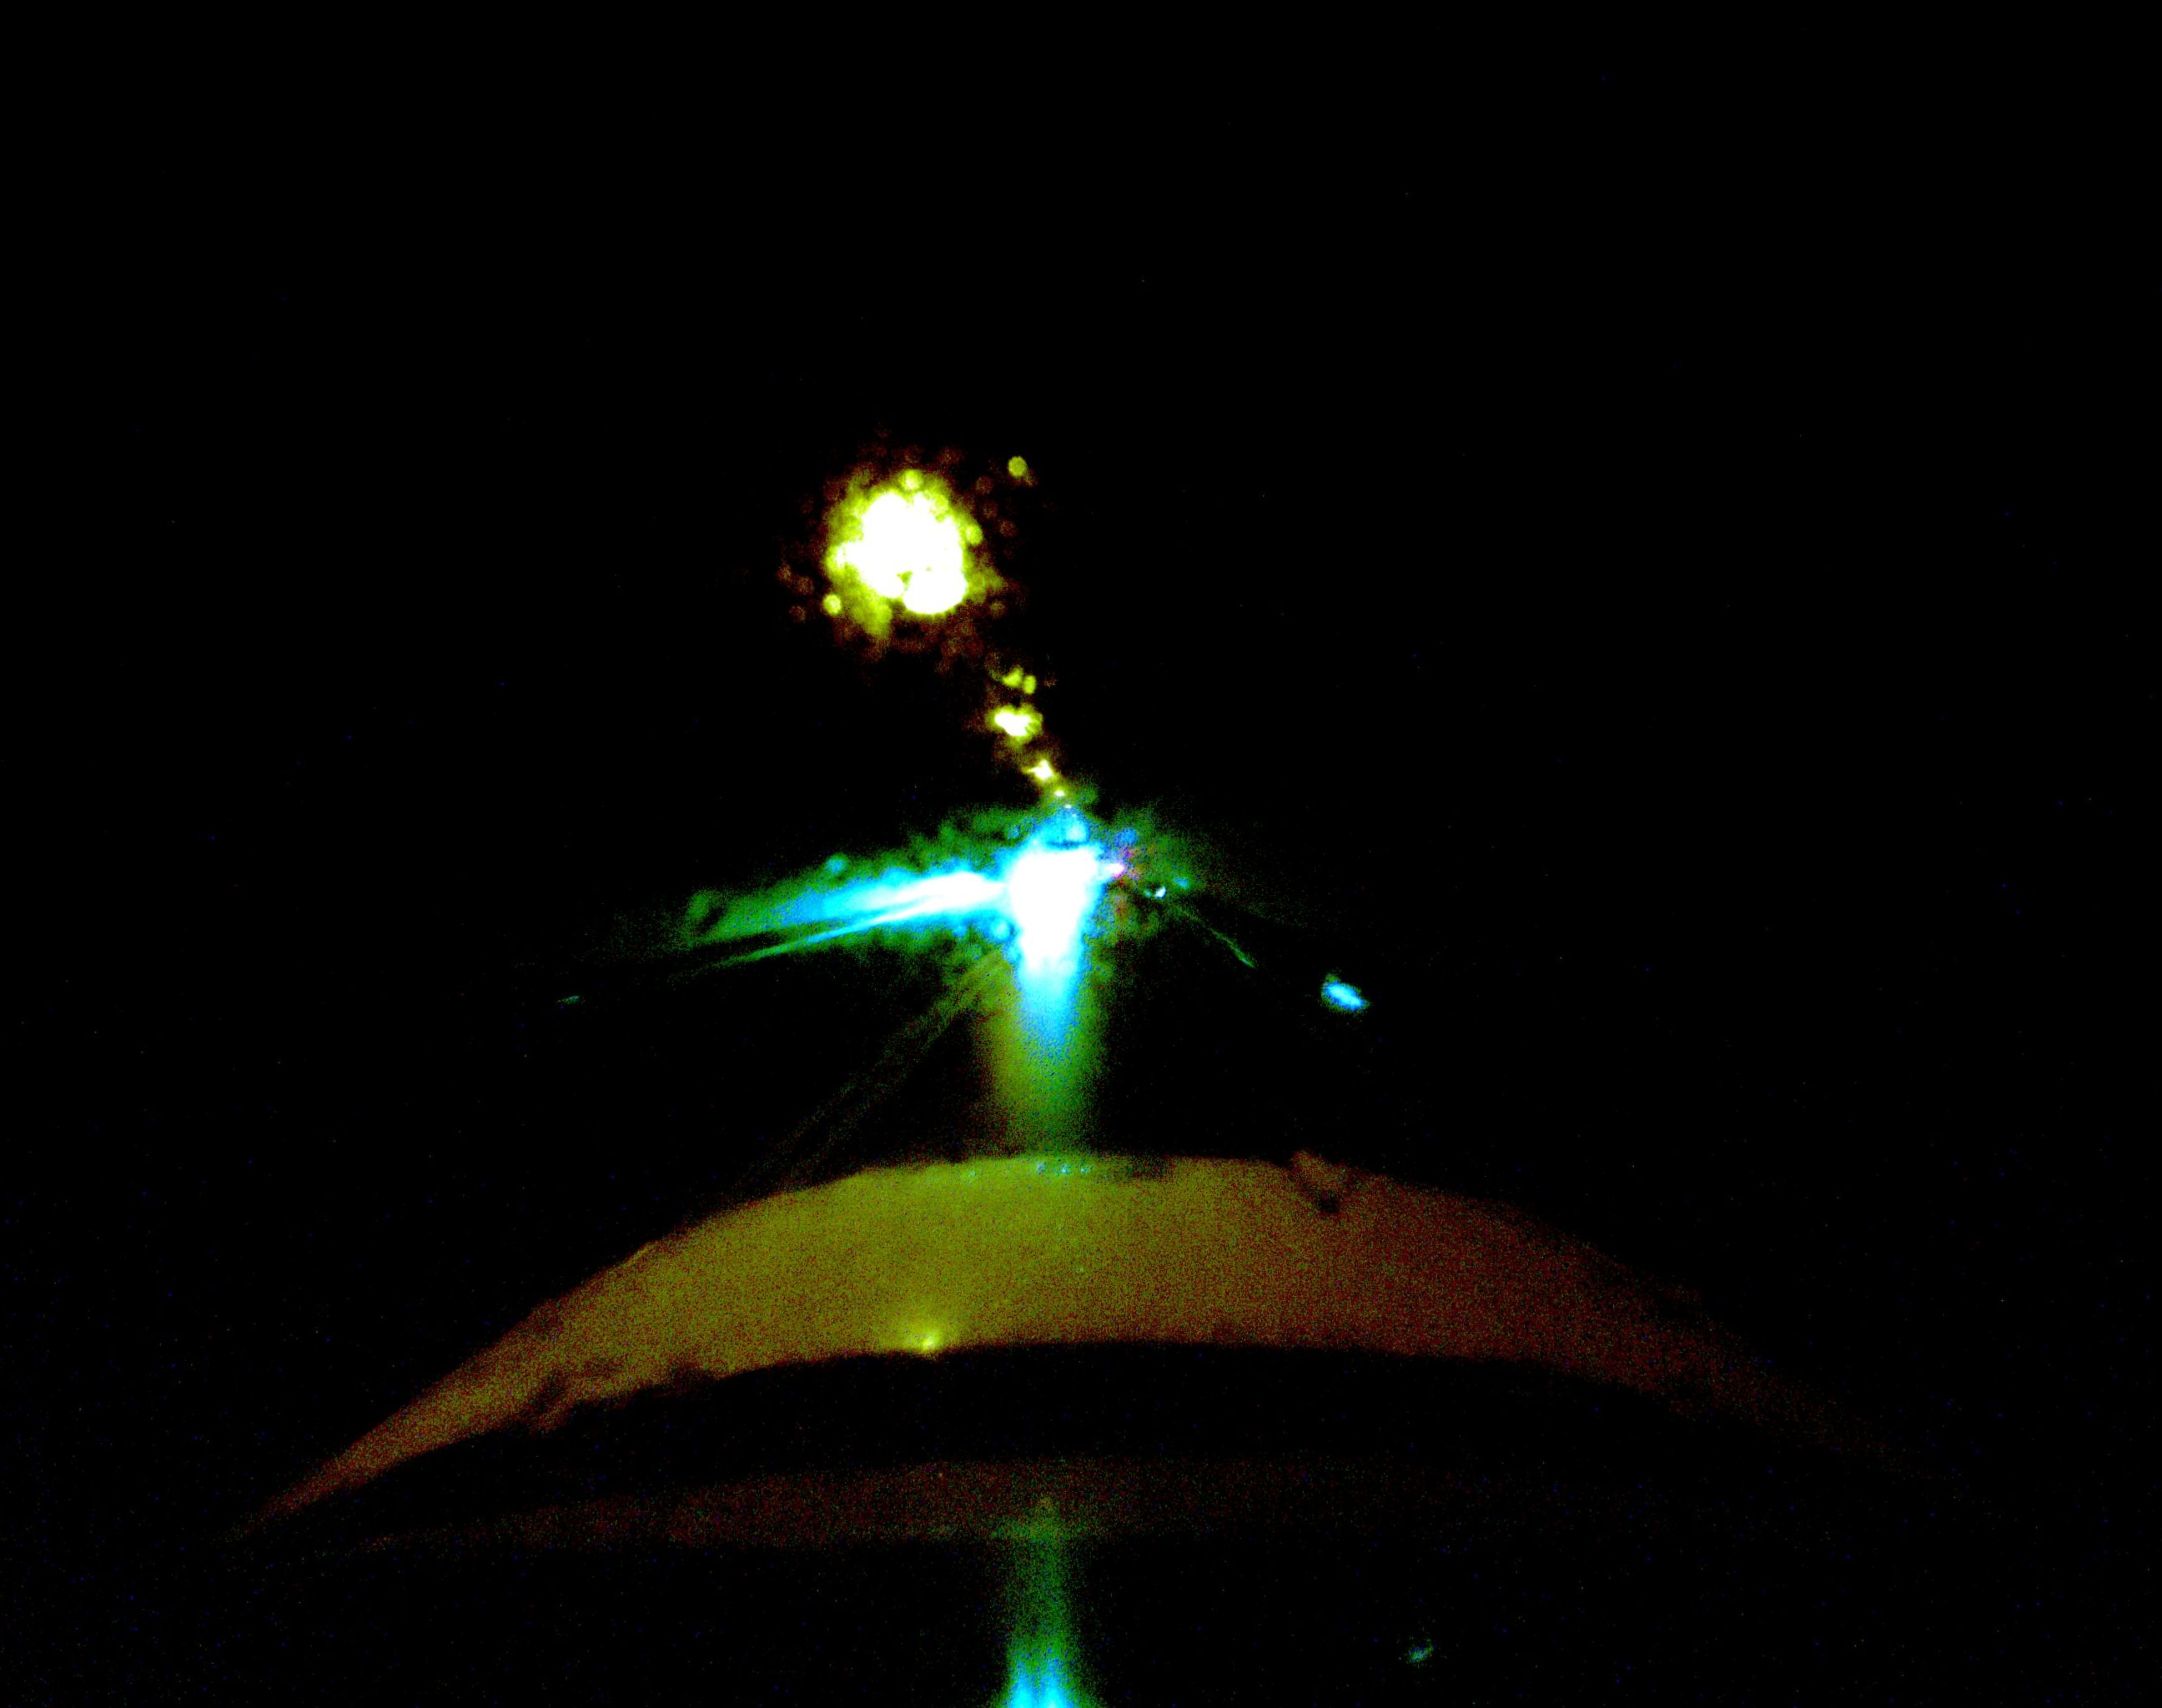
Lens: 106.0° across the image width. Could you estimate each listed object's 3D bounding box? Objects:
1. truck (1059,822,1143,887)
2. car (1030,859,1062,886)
[{"bbox_3d":[1.003,0.048,39.864,3.522,2.693,8.959,-2,0,2],"label":"truck"},{"bbox_3d":[-2.156,1.146,51.594,1.742,1.584,4.001,-1,-1,1],"label":"car"}]
